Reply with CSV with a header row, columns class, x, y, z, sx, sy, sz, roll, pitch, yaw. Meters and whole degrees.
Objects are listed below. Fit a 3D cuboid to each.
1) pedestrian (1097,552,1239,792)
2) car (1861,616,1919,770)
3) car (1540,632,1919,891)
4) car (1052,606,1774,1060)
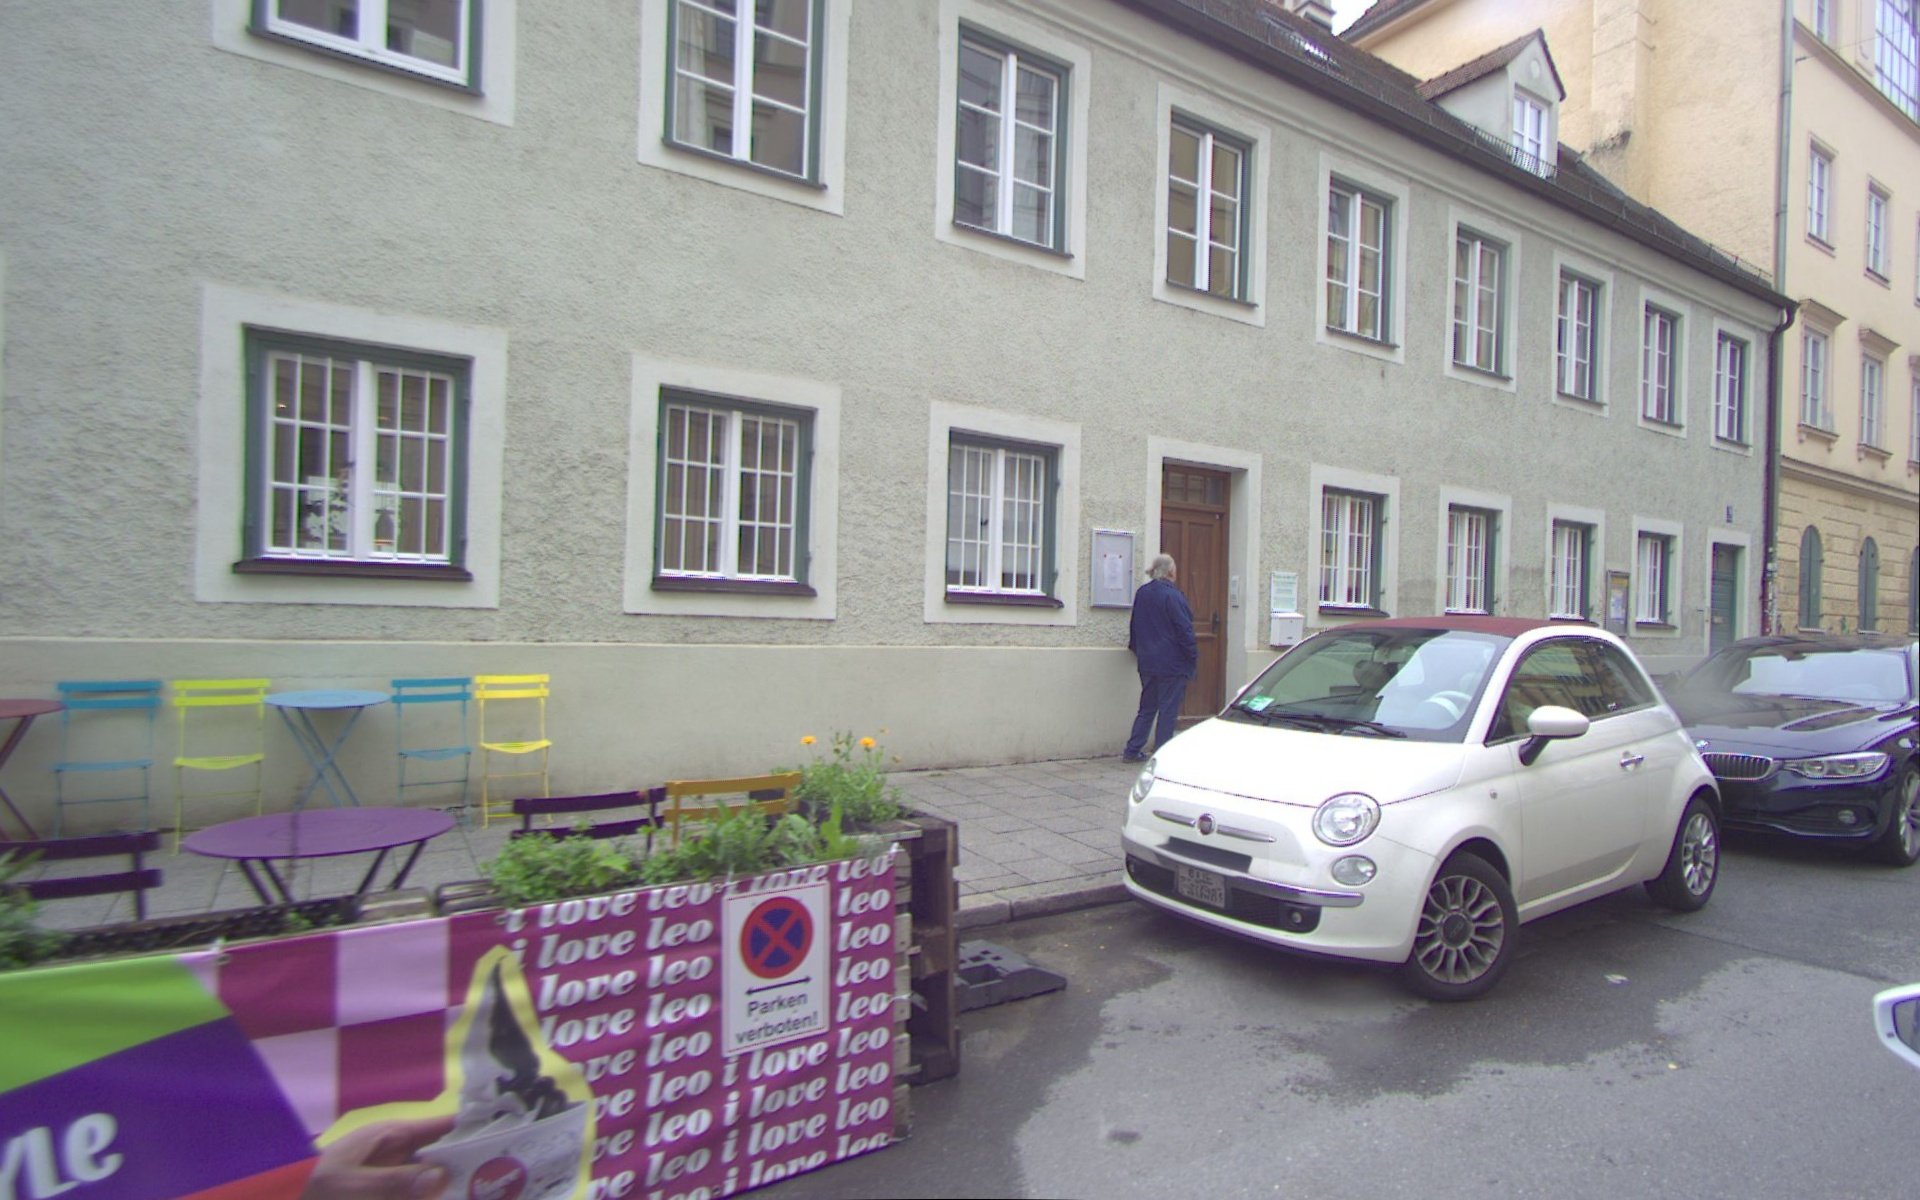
class,x,y,z,sx,sy,sz,roll,pitch,yaw
pedestrian,1.778,0.592,8.628,0.819,1.922,0.818,3,-1,-33
car,11.470,0.974,10.795,4.158,1.516,1.743,2,0,-35
car,6.540,0.970,7.648,4.635,1.357,1.788,1,0,-33
car,2.450,0.825,5.166,3.677,1.495,1.743,1,0,-35
